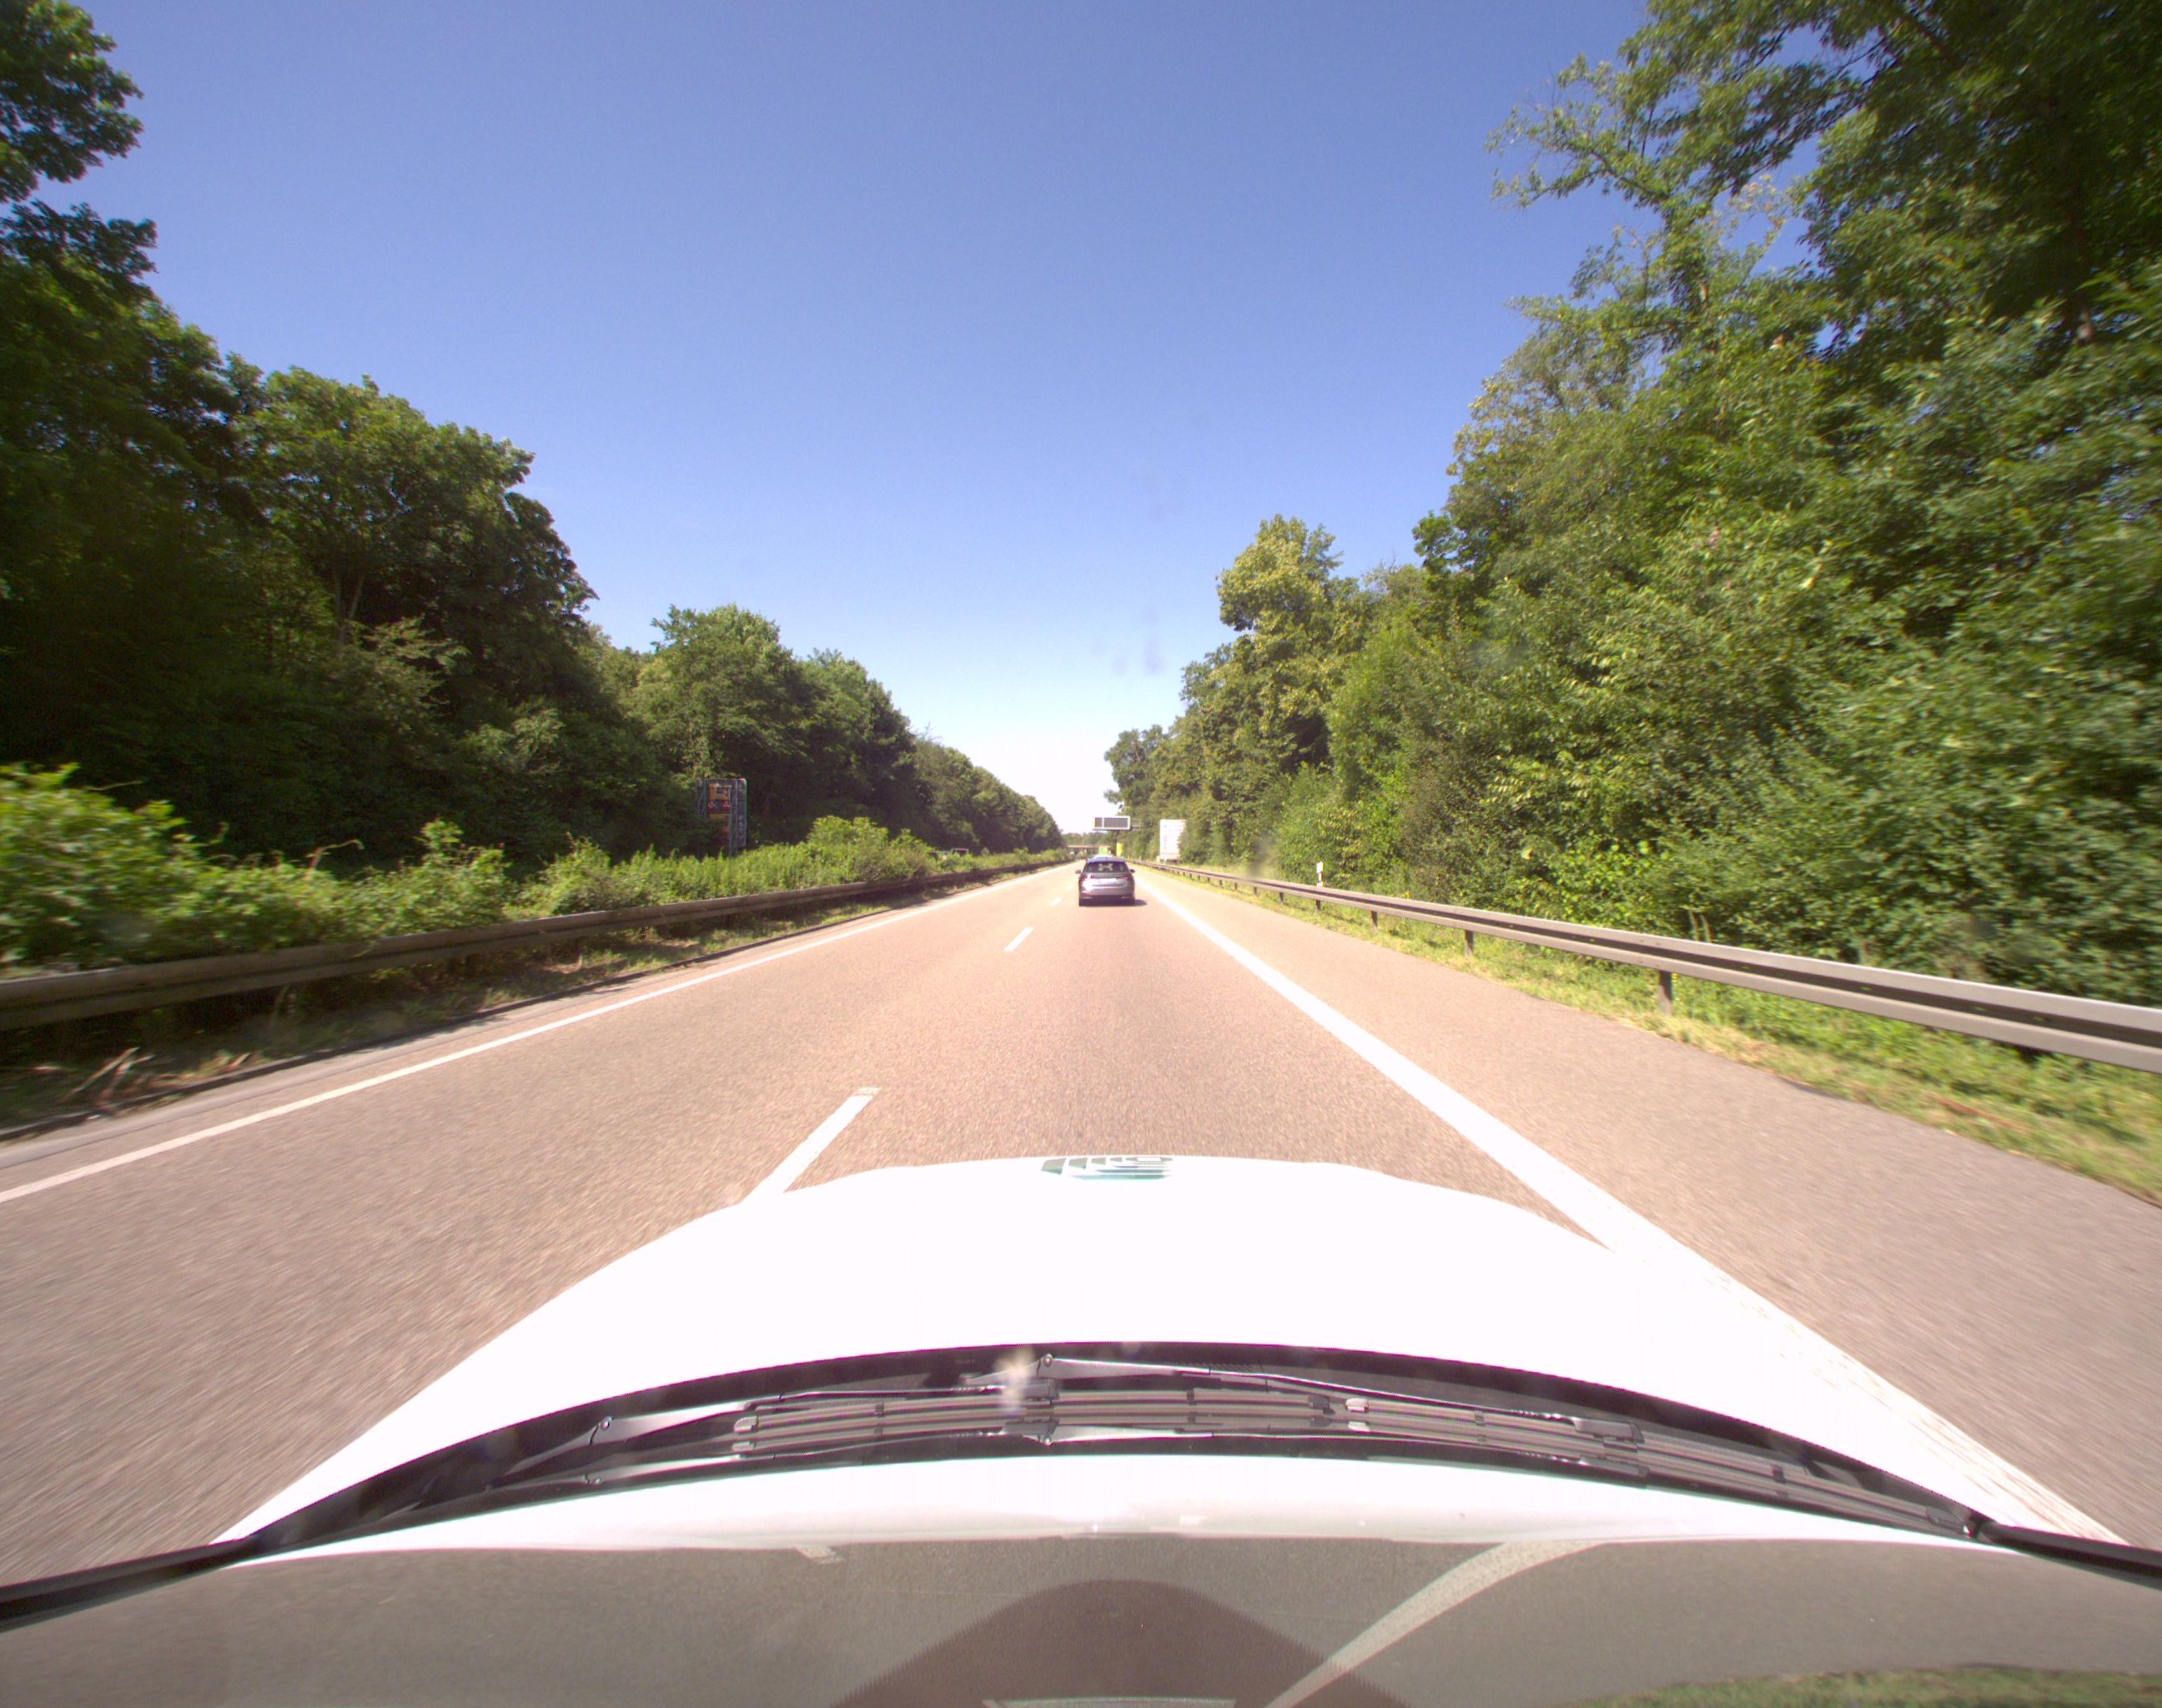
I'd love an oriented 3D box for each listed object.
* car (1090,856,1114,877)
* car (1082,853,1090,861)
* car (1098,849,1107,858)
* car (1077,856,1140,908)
[{"bbox_3d":[1.488,0.869,57.103,1.516,1.446,3.343,0,0,3],"label":"car"},{"bbox_3d":[1.395,0.891,221.523,1.986,2.014,4.001,0,-1,2],"label":"car"},{"bbox_3d":[6.621,-0.066,250.297,2.738,2.654,4.001,0,-1,2],"label":"car"},{"bbox_3d":[0.901,0.822,25.327,1.832,1.472,3.626,0,0,3],"label":"car"}]
